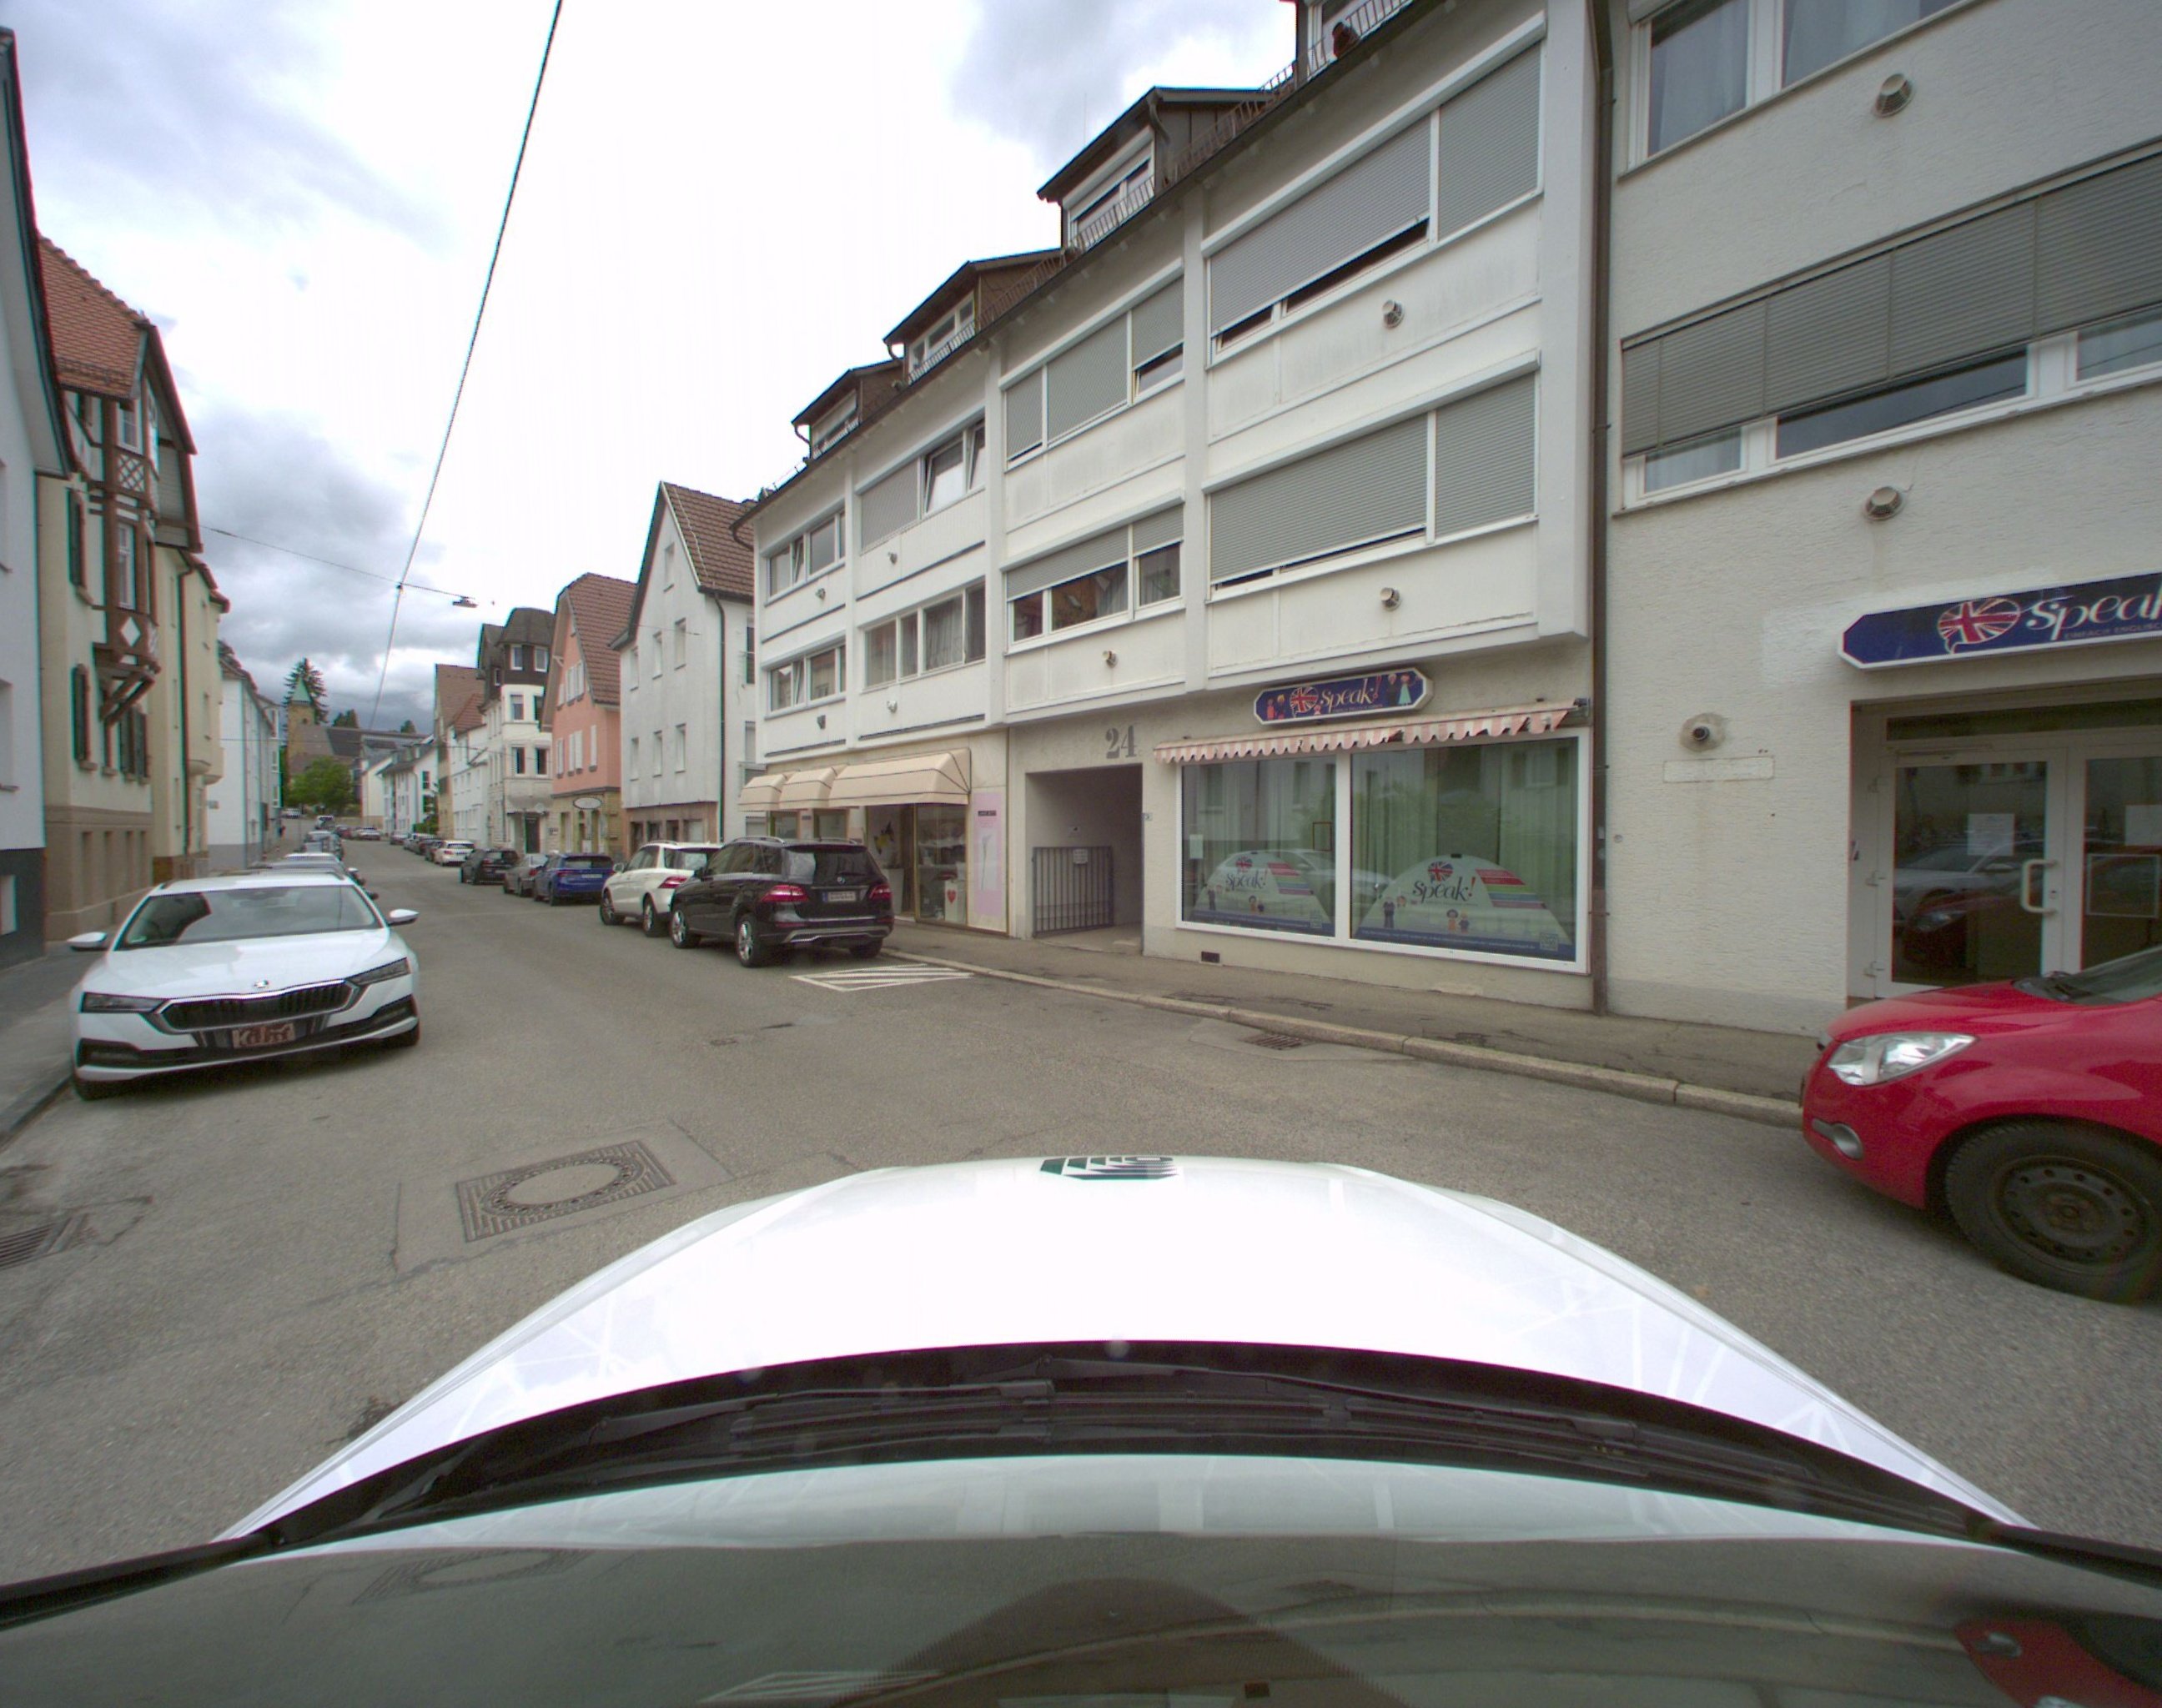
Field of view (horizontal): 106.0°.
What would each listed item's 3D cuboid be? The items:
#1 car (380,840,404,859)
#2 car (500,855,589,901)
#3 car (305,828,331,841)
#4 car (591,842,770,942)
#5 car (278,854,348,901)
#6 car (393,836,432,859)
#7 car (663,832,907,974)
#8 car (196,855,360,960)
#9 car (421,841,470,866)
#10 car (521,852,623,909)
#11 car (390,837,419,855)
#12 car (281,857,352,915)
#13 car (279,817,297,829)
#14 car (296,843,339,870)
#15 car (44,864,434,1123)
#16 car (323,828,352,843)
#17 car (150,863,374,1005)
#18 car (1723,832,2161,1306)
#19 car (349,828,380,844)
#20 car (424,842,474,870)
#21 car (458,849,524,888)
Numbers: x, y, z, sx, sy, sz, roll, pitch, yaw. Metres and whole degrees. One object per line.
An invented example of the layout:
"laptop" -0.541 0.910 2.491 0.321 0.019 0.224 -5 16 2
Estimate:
"car" -65.601 -0.417 77.486 1.592 1.759 3.171 0 -1 -43
"car" -17.953 0.733 27.165 1.764 1.391 3.982 0 0 -44
"car" -100.859 -2.639 107.700 3.667 1.604 1.907 2 0 38
"car" -8.060 0.619 16.198 1.951 1.712 4.323 -1 1 -44
"car" -26.132 0.749 27.741 1.601 1.422 3.359 -3 2 -43
"car" -49.442 -0.472 60.234 3.786 1.574 1.744 2 2 43
"car" -4.664 0.638 12.472 1.958 1.780 4.315 1 -1 -43
"car" -14.100 0.819 14.449 1.784 1.495 3.933 -5 3 -43
"car" -42.060 -0.070 53.873 3.950 1.574 1.973 1 1 43
"car" -14.675 0.699 23.407 1.790 1.475 3.736 -1 1 -43
"car" -53.059 -0.603 63.846 2.866 1.305 1.421 3 2 43
"car" -21.009 0.826 22.397 1.294 1.358 3.758 -3 3 -43
"car" -138.133 -5.412 141.864 3.703 1.923 1.838 3 1 41
"car" -43.418 0.120 46.301 1.689 1.464 3.951 1 0 -44
"car" -7.161 0.882 7.121 4.242 1.460 1.809 0 3 45
"car" -88.469 -2.249 96.897 3.923 1.645 1.907 3 0 38
"car" -10.911 0.905 11.024 1.785 1.417 4.120 -4 3 -44
"car" 4.644 0.722 2.762 1.706 1.556 3.651 2 -1 -42
"car" -79.473 -1.970 90.310 3.949 1.667 1.776 2 0 38
"car" -38.626 0.094 49.746 3.854 1.525 1.783 3 2 43
"car" -25.345 0.606 34.942 1.728 1.549 3.755 1 0 -44
